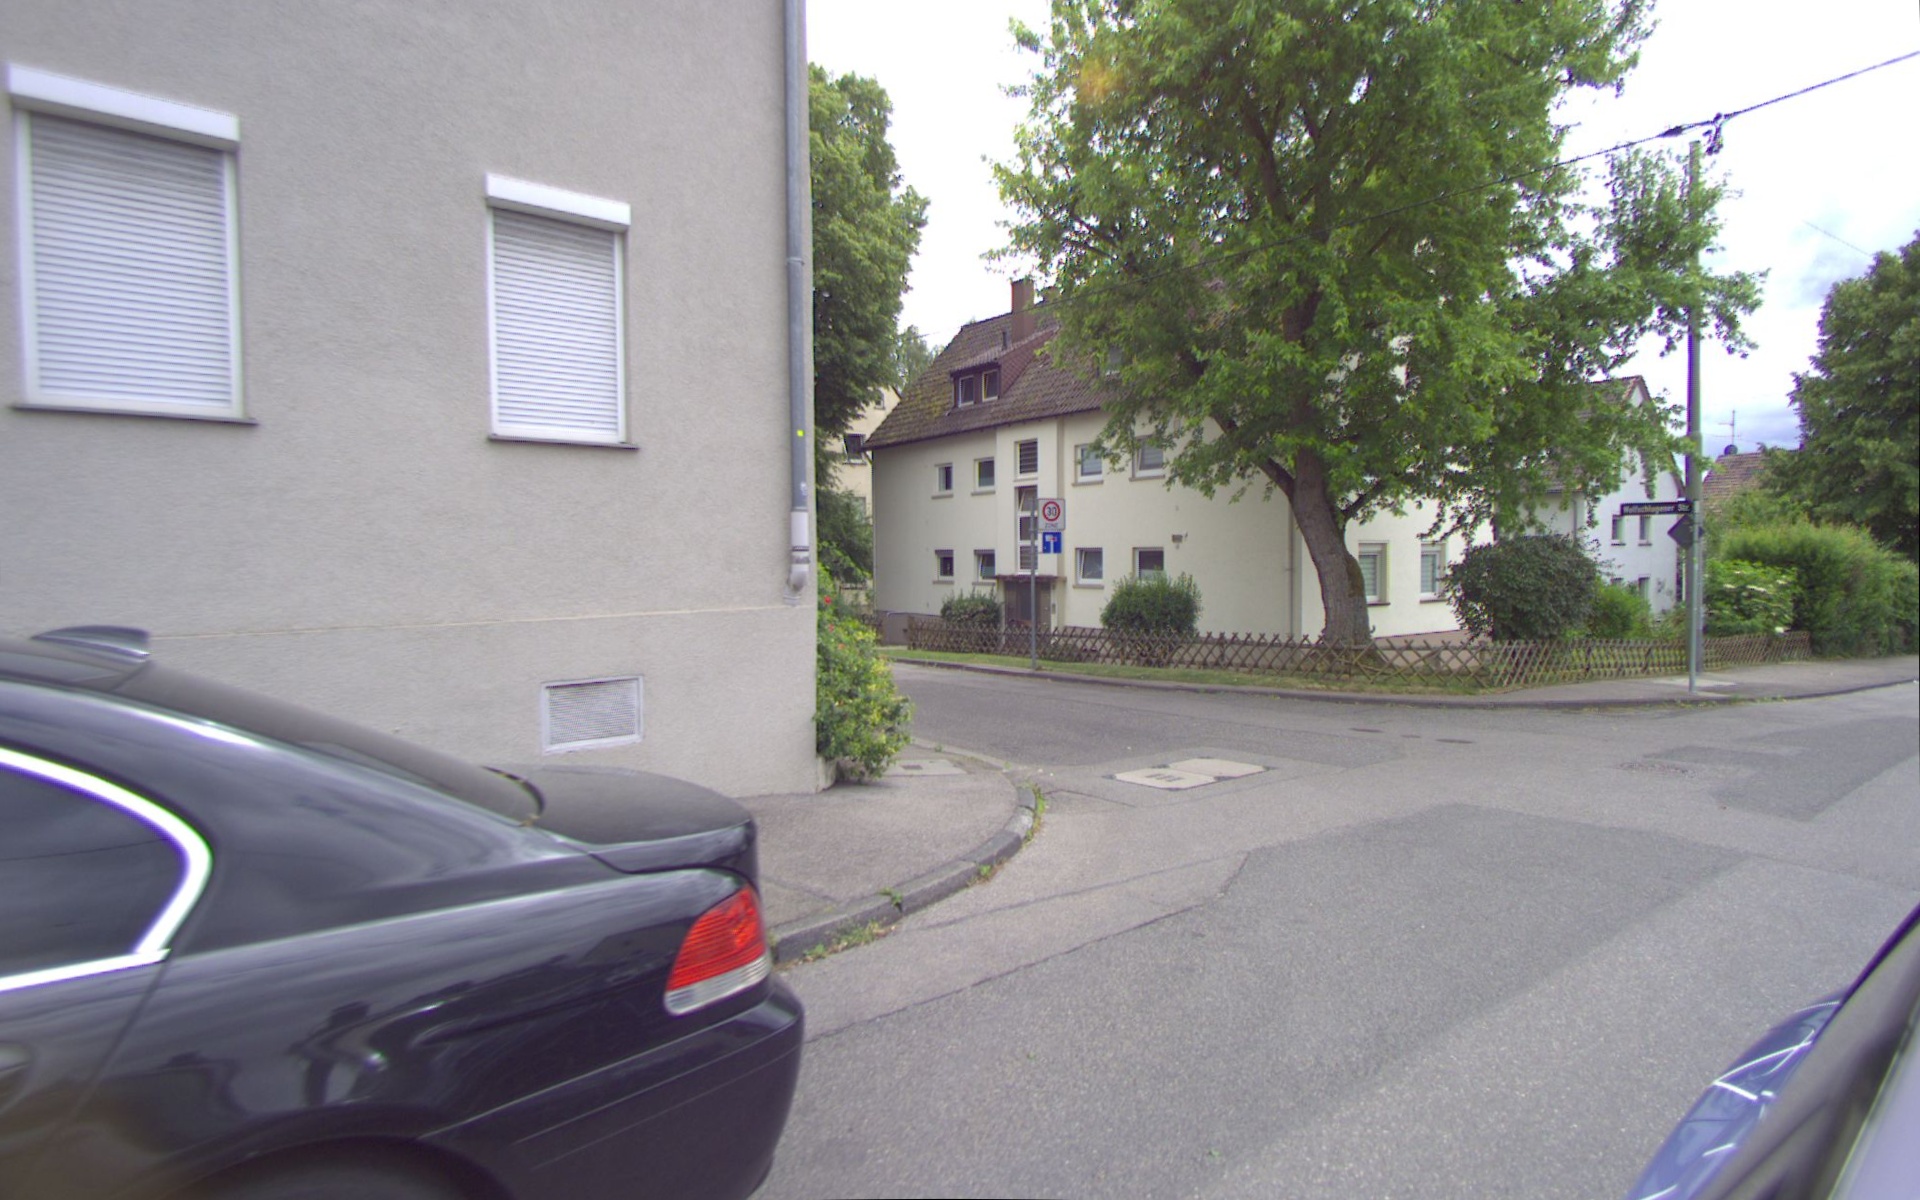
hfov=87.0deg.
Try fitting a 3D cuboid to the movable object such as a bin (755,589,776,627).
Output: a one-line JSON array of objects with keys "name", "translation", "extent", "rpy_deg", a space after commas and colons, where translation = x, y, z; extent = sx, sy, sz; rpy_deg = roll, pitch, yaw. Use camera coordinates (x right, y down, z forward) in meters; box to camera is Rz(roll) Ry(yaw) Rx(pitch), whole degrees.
[{"name": "movable object such as a bin", "translation": [-6.101, 0.243, 31.735], "extent": [0.512, 1.171, 0.428], "rpy_deg": [1, 0, -40]}]

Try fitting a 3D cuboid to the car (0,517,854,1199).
[{"name": "car", "translation": [-2.672, 0.664, 1.225], "extent": [4.806, 1.537, 1.997], "rpy_deg": [0, 0, -41]}]

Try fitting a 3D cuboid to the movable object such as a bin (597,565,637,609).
[{"name": "movable object such as a bin", "translation": [-15.297, -0.580, 45.102], "extent": [1.349, 1.955, 1.201], "rpy_deg": [1, 1, -37]}]
